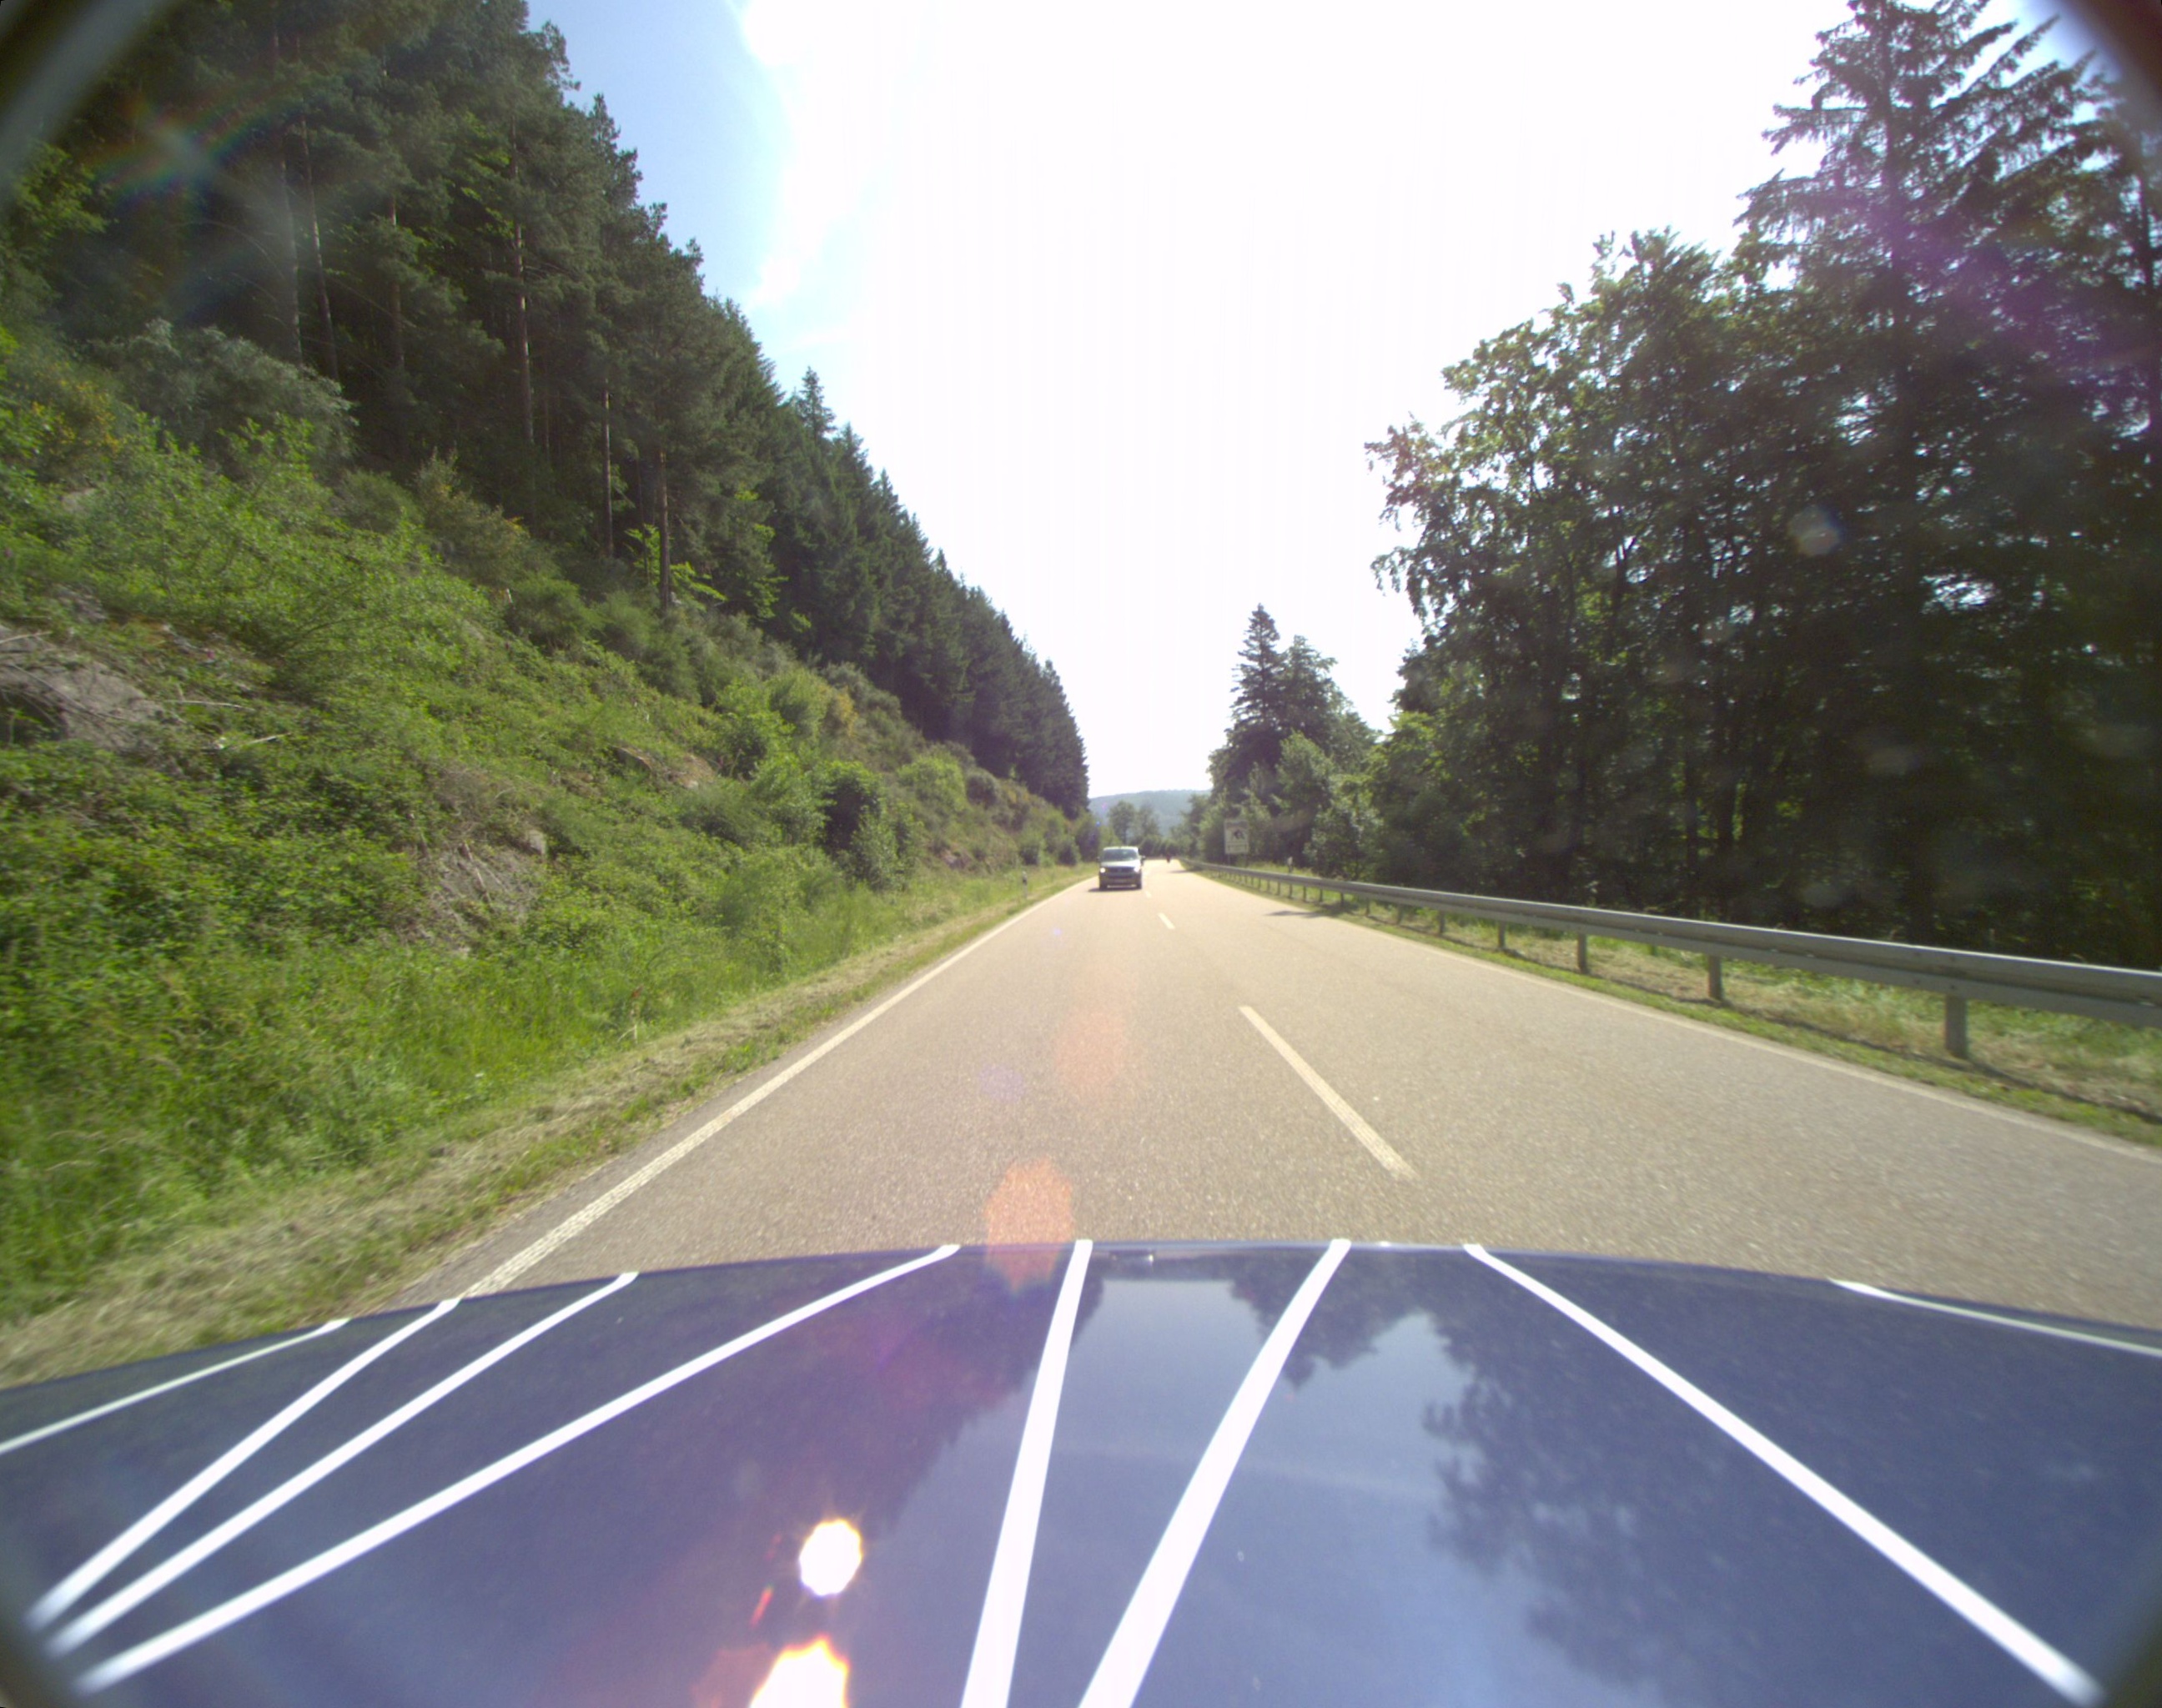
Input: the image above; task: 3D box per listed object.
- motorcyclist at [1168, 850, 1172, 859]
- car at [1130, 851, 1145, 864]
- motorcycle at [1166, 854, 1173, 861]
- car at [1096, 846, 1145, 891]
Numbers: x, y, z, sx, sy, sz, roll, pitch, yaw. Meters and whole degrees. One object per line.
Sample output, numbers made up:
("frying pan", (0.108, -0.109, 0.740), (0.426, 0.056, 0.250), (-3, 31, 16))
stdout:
("motorcyclist", (14.682, 0.051, 125.630), (0.659, 1.504, 0.934), (-1, 0, 8))
("car", (8.042, 0.486, 107.621), (1.998, 1.718, 4.001), (-2, 0, 4))
("motorcycle", (14.648, 0.577, 125.713), (0.986, 1.065, 1.964), (-2, 0, 8))
("car", (1.901, 0.625, 34.987), (1.990, 1.899, 4.762), (-2, 0, 5))
